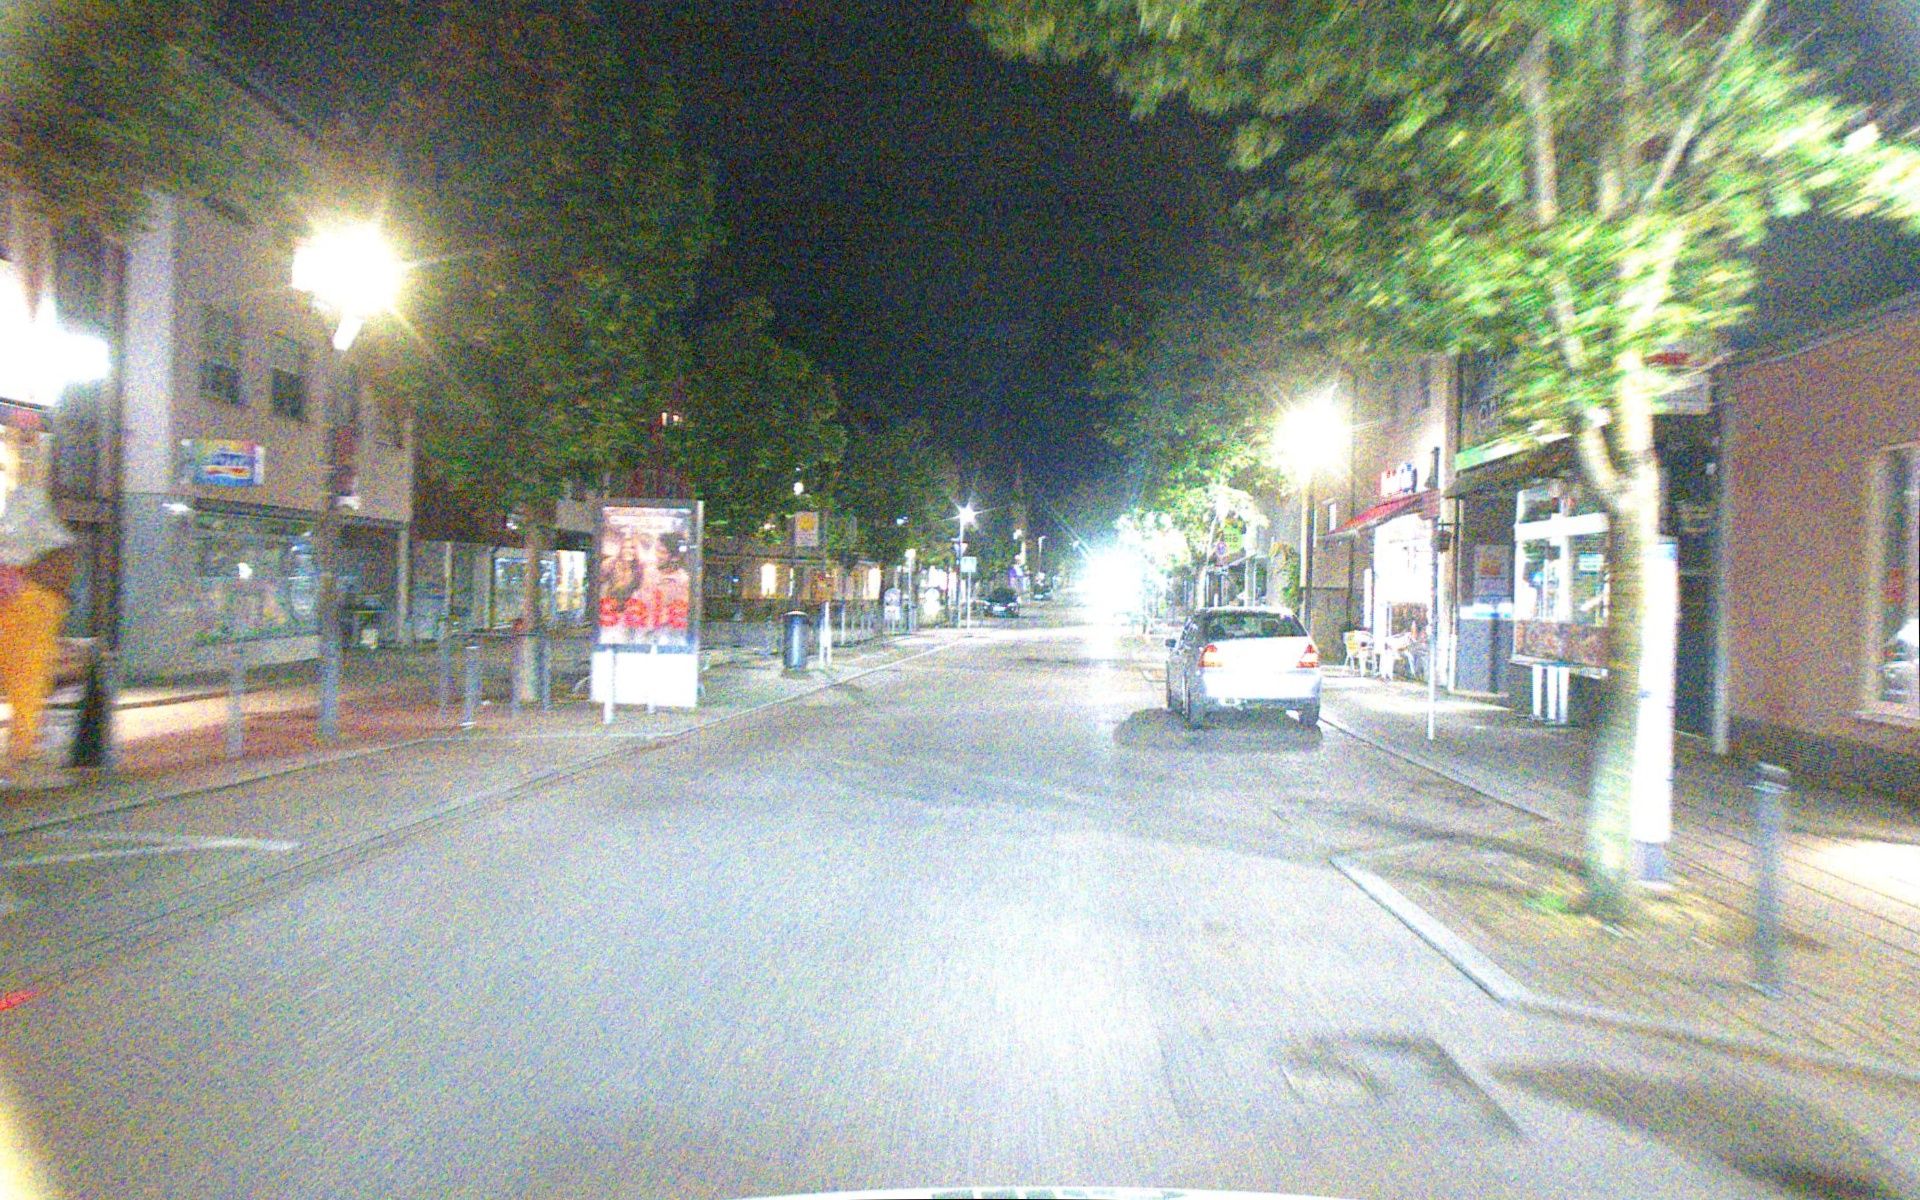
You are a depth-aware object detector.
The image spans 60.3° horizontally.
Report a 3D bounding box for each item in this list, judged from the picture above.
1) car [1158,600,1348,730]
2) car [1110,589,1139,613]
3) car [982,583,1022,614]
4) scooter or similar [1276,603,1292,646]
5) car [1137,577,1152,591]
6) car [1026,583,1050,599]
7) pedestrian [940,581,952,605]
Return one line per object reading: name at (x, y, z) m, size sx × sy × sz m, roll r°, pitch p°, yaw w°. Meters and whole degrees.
car at (3.725, 0.766, 21.757) m, size 1.699 × 1.466 × 4.496 m, roll 1°, pitch 1°, yaw 0°
car at (10.389, 0.042, 104.626) m, size 1.639 × 1.485 × 3.677 m, roll 0°, pitch 1°, yaw 3°
car at (2.576, -0.120, 99.611) m, size 1.975 × 1.720 × 5.006 m, roll 2°, pitch 1°, yaw 6°
scooter or similar at (9.898, 0.749, 50.491) m, size 0.365 × 1.299 × 1.306 m, roll 0°, pitch -1°, yaw 6°
car at (22.937, -2.005, 205.749) m, size 1.737 × 1.681 × 4.368 m, roll 0°, pitch 1°, yaw 7°
car at (7.223, -0.873, 153.494) m, size 1.873 × 1.394 × 4.461 m, roll 0°, pitch 1°, yaw 7°
pedestrian at (-1.001, -0.517, 117.740) m, size 0.753 × 1.684 × 0.818 m, roll 0°, pitch 2°, yaw 7°
